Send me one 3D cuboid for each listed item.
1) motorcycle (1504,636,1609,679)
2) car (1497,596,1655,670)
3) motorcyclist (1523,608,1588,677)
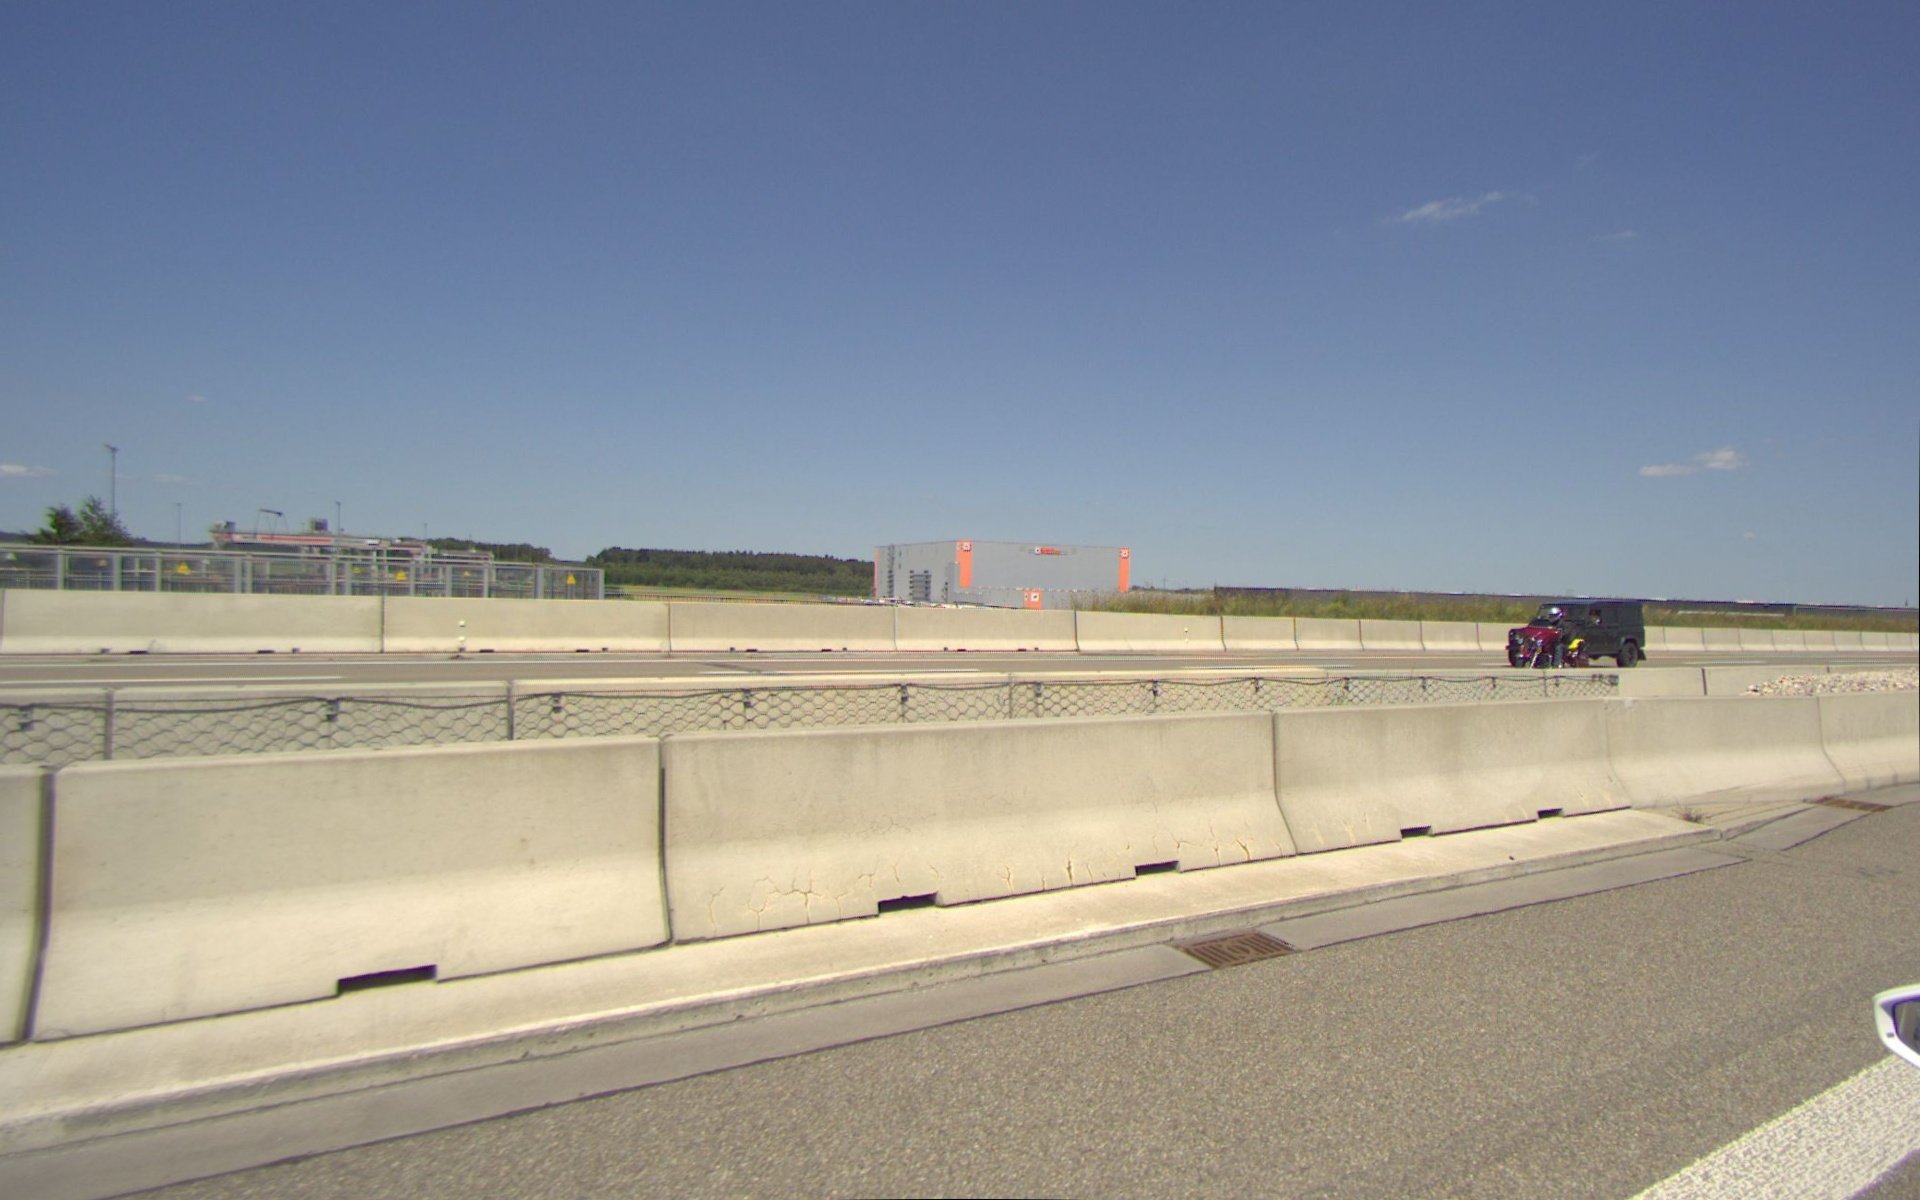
[{"bbox_3d":[13.563,1.296,22.814,2.671,0.914,0.772,1,0,-29],"label":"motorcycle"},{"bbox_3d":[18.167,0.949,29.579,4.676,2.044,1.877,1,0,-29],"label":"car"},{"bbox_3d":[13.474,0.950,22.753,0.912,1.517,0.914,1,0,-29],"label":"motorcyclist"}]
